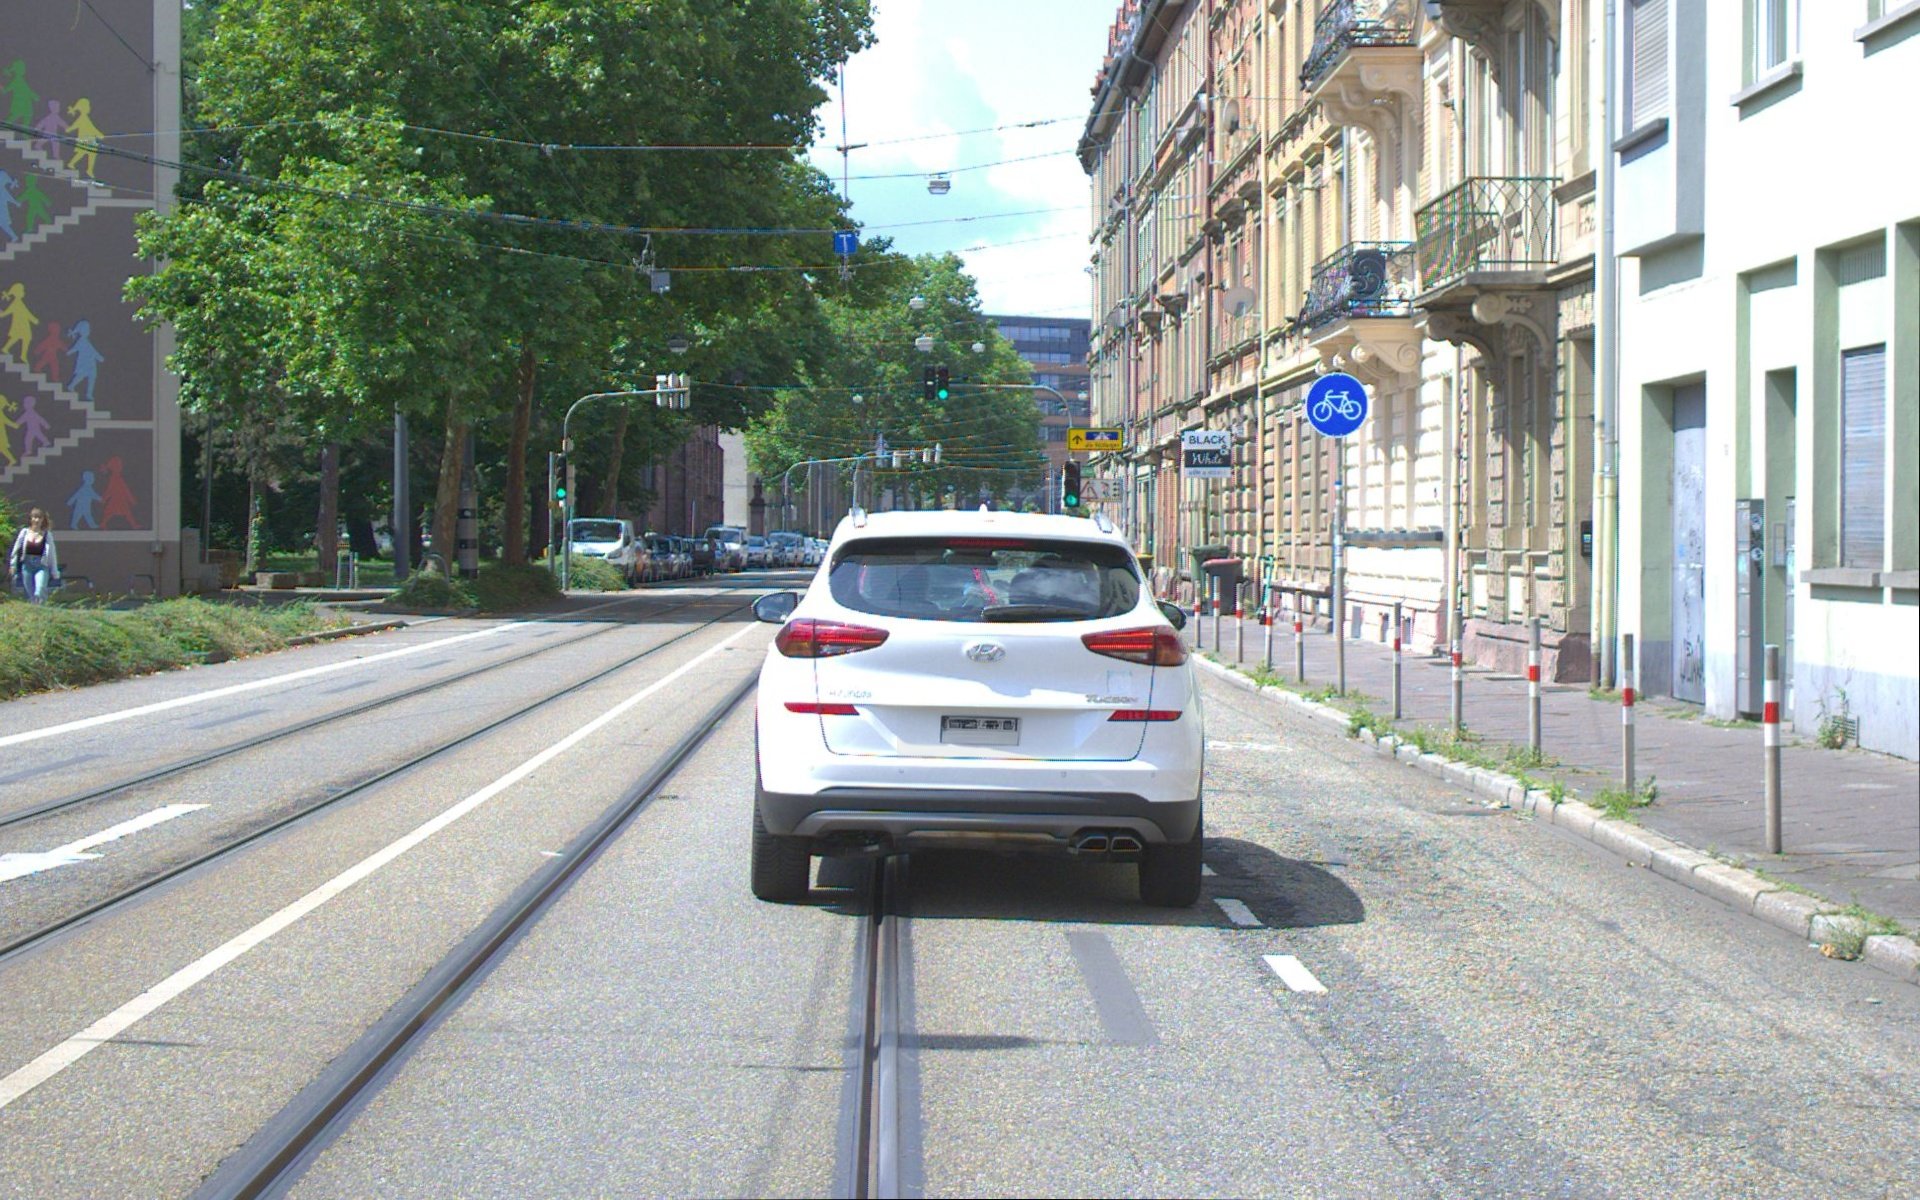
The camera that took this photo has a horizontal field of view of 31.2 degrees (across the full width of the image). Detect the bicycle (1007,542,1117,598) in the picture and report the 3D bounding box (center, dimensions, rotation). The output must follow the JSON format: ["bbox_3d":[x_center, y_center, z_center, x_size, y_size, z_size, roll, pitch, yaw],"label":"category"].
[{"bbox_3d":[2.156,-0.632,72.877,2.267,1.140,0.585,1,1,-3],"label":"bicycle"}]

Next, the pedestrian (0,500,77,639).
[{"bbox_3d":[-12.623,-0.418,46.833,0.880,1.859,1.081,-1,1,-1],"label":"pedestrian"}]

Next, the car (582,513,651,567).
[{"bbox_3d":[-10.714,-1.876,107.449,1.950,1.626,4.001,1,1,-3],"label":"car"}]

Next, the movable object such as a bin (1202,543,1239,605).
[{"bbox_3d":[4.886,-0.498,64.507,0.612,1.139,0.638,1,1,-1],"label":"movable object such as a bin"}]

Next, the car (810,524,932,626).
[{"bbox_3d":[-1.359,-0.413,53.316,1.814,1.519,3.956,0,1,-1],"label":"car"}]

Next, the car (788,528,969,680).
[{"bbox_3d":[-0.815,0.000,36.441,1.814,1.519,4.085,0,1,0],"label":"car"}]

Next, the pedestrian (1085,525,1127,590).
[{"bbox_3d":[3.580,-1.046,84.279,0.938,1.567,1.050,1,1,-1],"label":"pedestrian"}]

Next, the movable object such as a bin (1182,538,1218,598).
[{"bbox_3d":[4.599,-0.620,65.934,0.612,1.139,0.638,1,1,-1],"label":"movable object such as a bin"}]

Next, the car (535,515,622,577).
[{"bbox_3d":[-10.427,-1.499,94.218,1.950,1.626,4.576,1,1,-1],"label":"car"}]

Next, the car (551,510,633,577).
[{"bbox_3d":[-10.706,-1.656,100.233,1.950,1.888,4.566,1,1,-1],"label":"car"}]

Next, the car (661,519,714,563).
[{"bbox_3d":[-10.544,-2.299,133.168,1.950,1.626,4.001,1,1,-3],"label":"car"}]

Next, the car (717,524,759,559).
[{"bbox_3d":[-10.619,-2.810,164.421,1.950,1.626,4.001,1,1,-3],"label":"car"}]

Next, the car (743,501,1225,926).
[{"bbox_3d":[-0.026,0.401,15.469,1.852,1.628,4.181,1,1,-3],"label":"car"}]
